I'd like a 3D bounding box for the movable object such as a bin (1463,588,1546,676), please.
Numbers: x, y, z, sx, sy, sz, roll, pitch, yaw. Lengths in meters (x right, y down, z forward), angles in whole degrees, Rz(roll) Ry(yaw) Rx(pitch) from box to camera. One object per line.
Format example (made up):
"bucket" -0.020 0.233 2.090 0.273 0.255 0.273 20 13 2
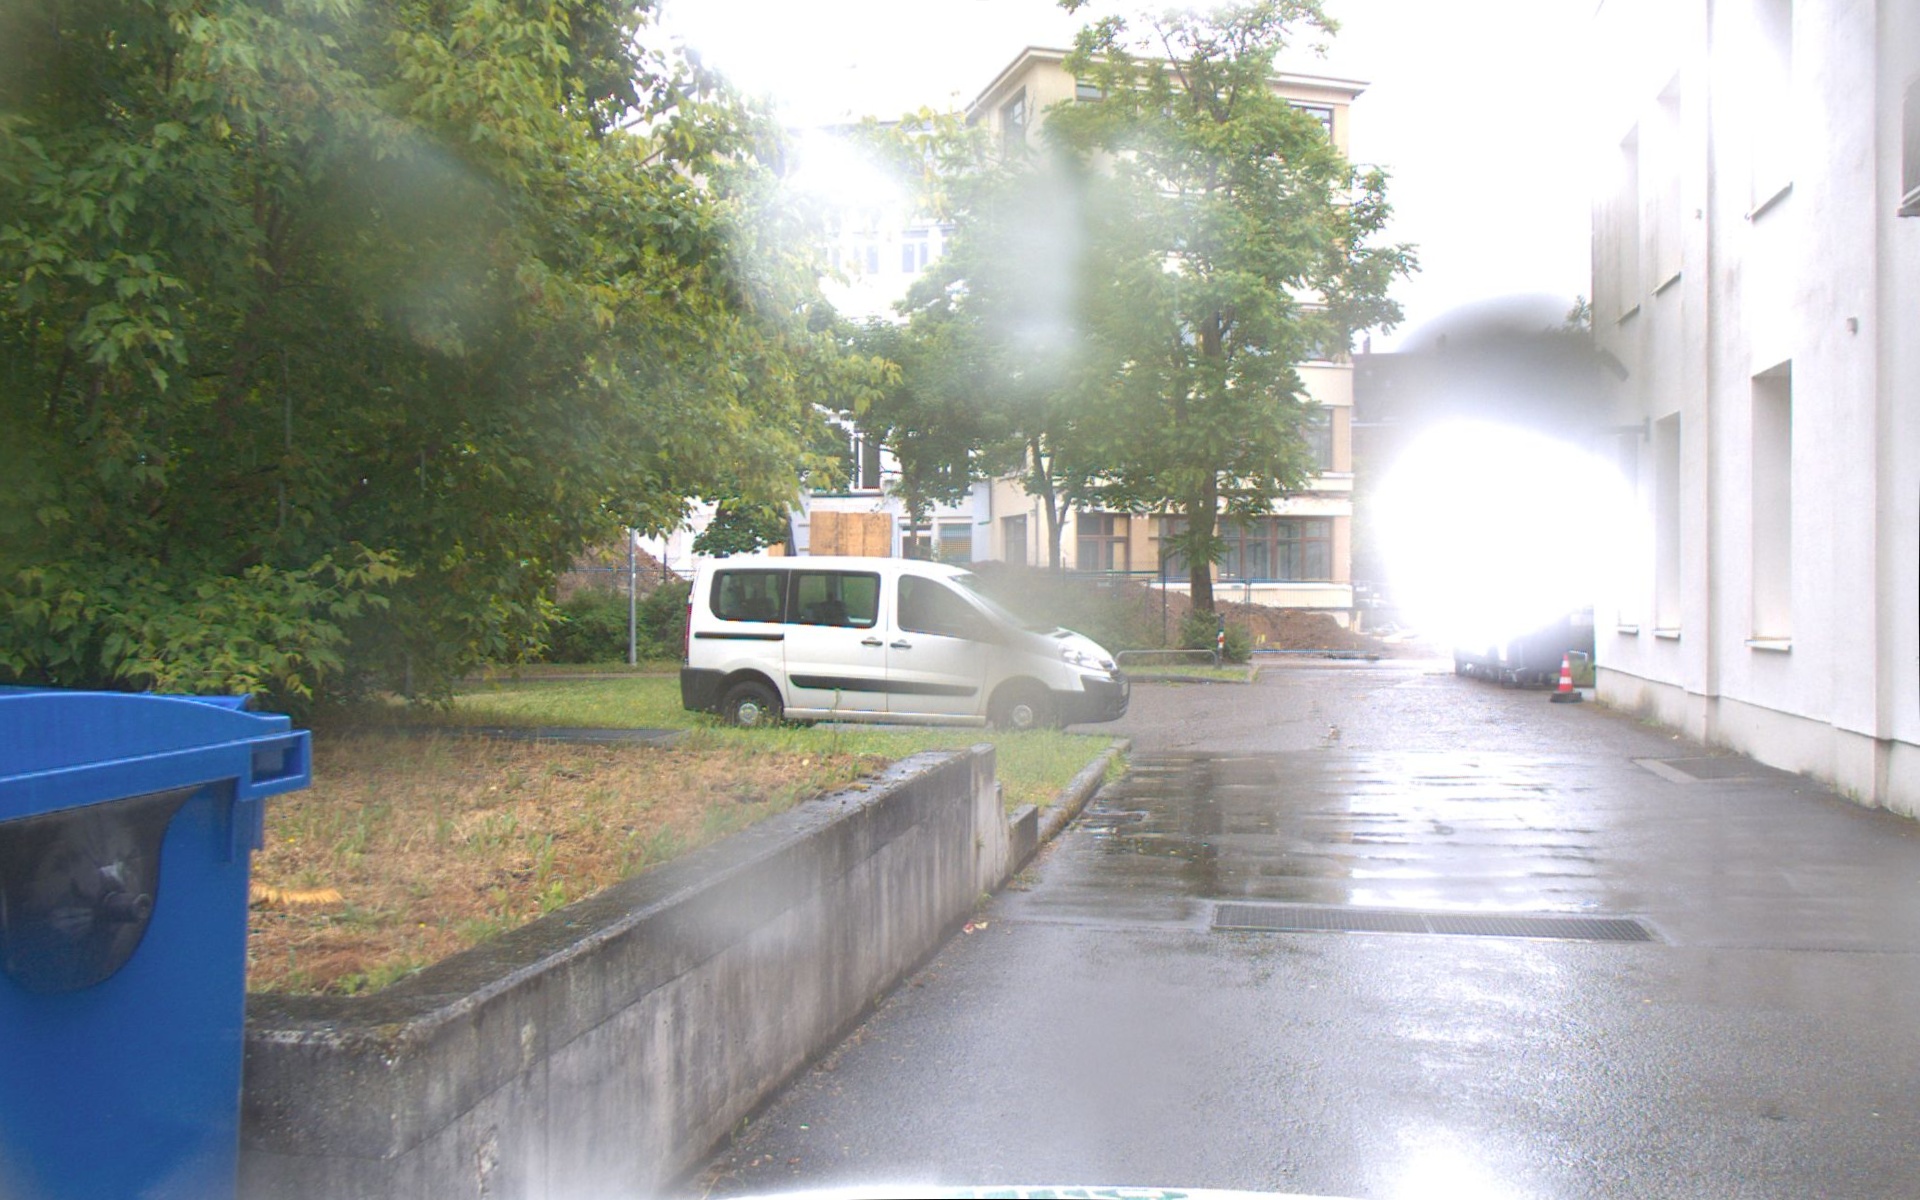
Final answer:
"movable object such as a bin" 9.433 0.562 28.719 1.188 1.494 1.237 0 -2 9

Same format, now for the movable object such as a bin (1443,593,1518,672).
"movable object such as a bin" 9.883 0.622 31.441 1.188 1.462 1.260 0 -2 10

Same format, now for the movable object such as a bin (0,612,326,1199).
"movable object such as a bin" -1.736 0.707 2.359 1.195 1.360 1.007 0 0 12

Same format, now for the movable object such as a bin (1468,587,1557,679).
"movable object such as a bin" 9.044 0.548 27.130 1.188 1.462 1.295 0 -2 10

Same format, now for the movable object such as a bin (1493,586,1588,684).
"movable object such as a bin" 8.904 0.541 25.431 1.188 1.462 1.237 0 -2 9

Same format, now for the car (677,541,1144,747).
"car" -0.469 0.465 17.908 4.678 2.049 2.002 -1 0 12

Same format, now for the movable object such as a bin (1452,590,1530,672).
"movable object such as a bin" 9.639 0.574 30.083 1.188 1.462 1.260 0 -2 10
